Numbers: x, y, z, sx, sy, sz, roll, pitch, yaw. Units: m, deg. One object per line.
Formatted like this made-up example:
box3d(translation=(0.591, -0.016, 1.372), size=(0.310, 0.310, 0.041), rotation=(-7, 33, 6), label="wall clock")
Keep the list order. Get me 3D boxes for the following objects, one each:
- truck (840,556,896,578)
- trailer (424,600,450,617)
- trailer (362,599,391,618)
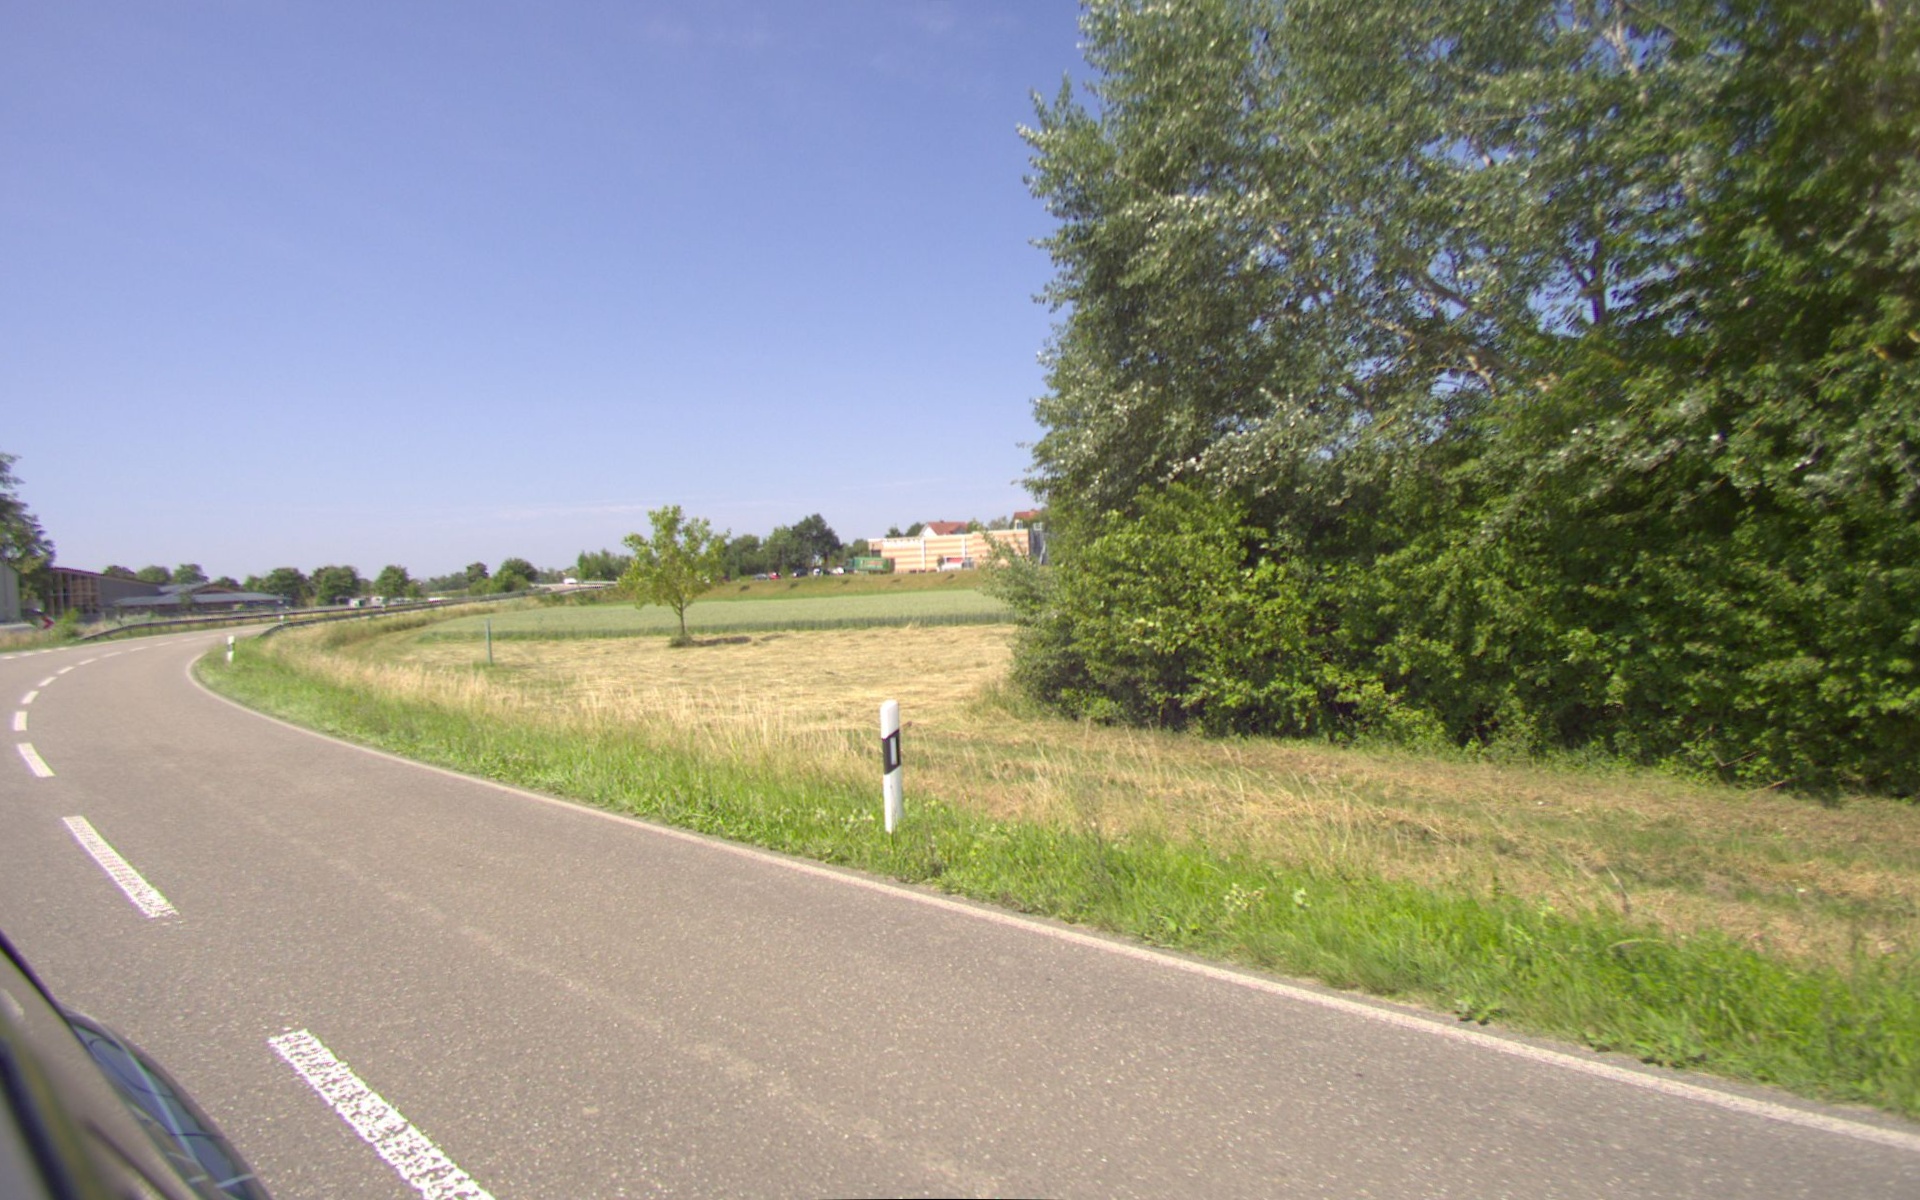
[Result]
box3d(translation=(-17.171, -6.218, 188.662), size=(9.871, 3.502, 2.859), rotation=(-2, 3, 21), label="truck")
box3d(translation=(-95.269, 1.606, 184.418), size=(3.386, 2.825, 2.157), rotation=(-3, 2, 13), label="trailer")
box3d(translation=(-89.476, 1.324, 155.206), size=(5.041, 2.886, 2.205), rotation=(-1, 1, 40), label="trailer")
